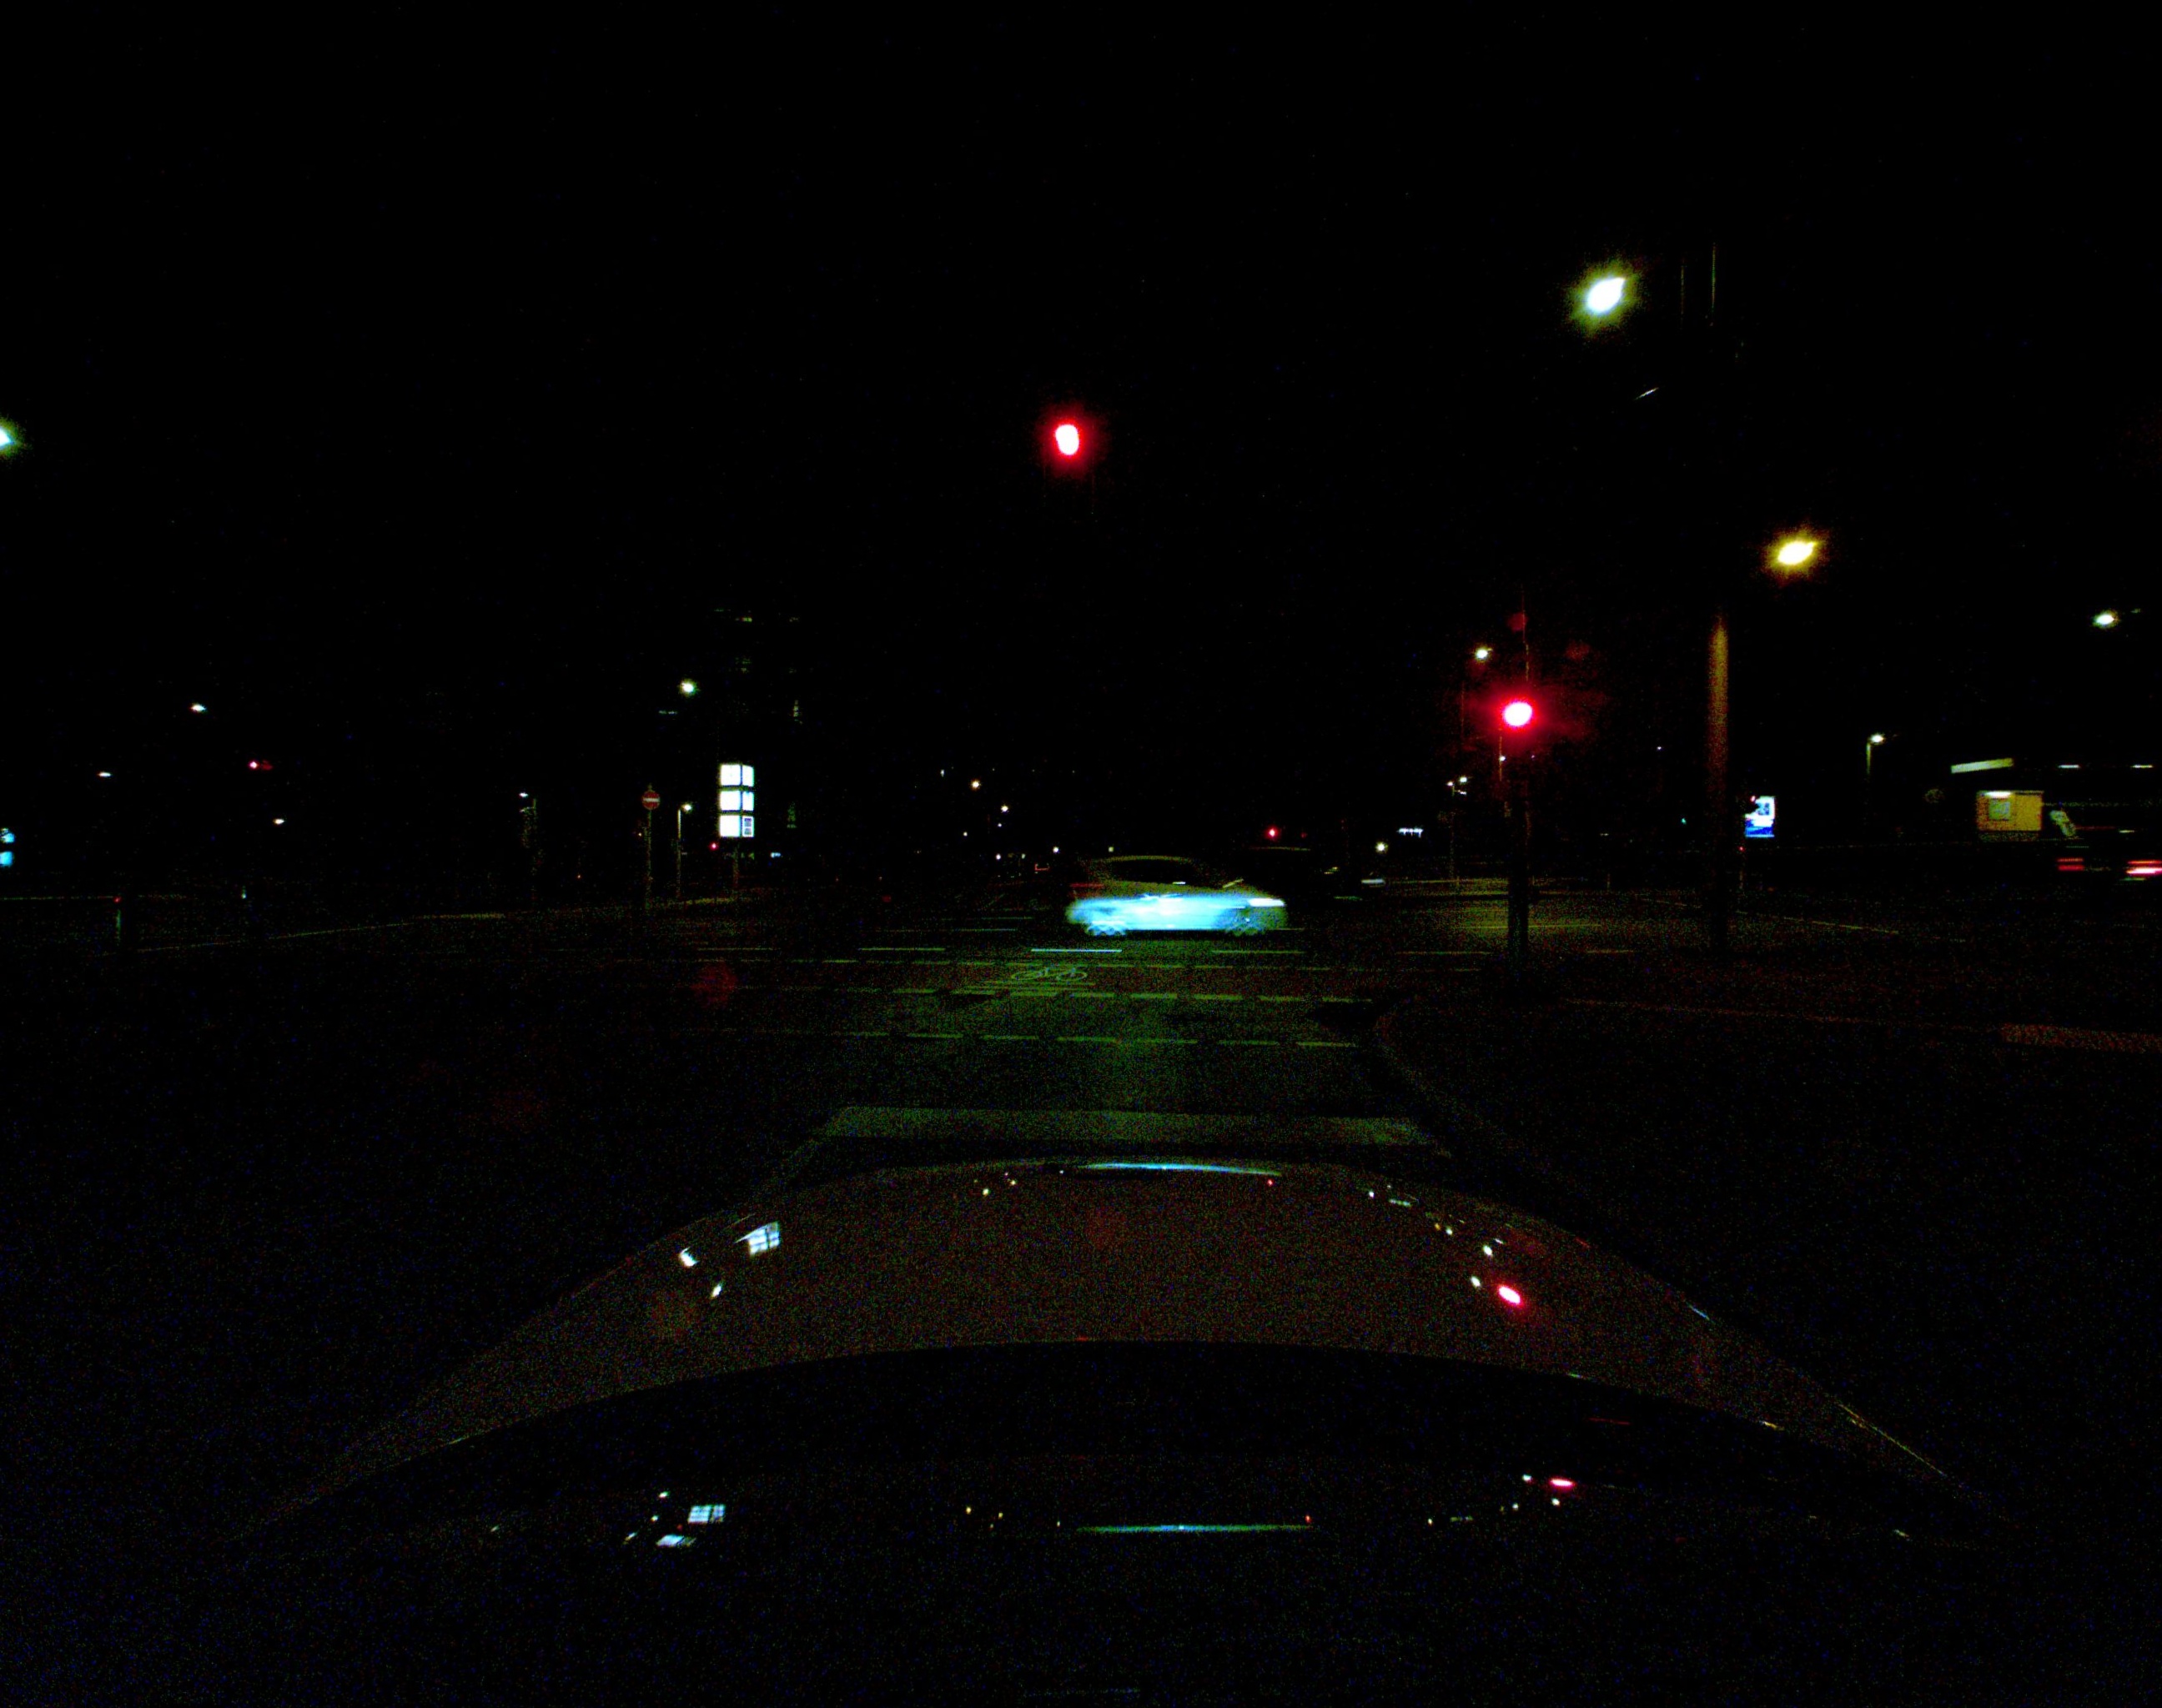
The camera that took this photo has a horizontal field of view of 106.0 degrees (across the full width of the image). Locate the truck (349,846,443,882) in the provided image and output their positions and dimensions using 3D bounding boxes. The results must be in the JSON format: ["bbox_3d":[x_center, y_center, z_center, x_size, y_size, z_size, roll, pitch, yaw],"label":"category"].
[{"bbox_3d":[-59.892,0.875,71.300,5.873,3.088,2.915,0,-1,3],"label":"truck"}]

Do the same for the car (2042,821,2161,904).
[{"bbox_3d":[24.124,0.128,17.622,4.323,1.651,1.813,-1,2,4],"label":"car"}]

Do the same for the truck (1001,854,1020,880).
[{"bbox_3d":[-10.384,1.958,119.811,2.580,3.707,5.723,0,-1,-7],"label":"truck"}]

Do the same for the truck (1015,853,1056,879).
[{"bbox_3d":[-8.565,2.224,151.645,4.835,4.547,12.591,0,-1,-17],"label":"truck"}]

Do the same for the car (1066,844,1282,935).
[{"bbox_3d":[1.797,0.662,16.048,3.968,1.662,1.813,0,0,5],"label":"car"}]

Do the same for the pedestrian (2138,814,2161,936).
[{"bbox_3d":[15.879,0.280,11.465,0.752,1.745,0.834,-3,-2,1],"label":"pedestrian"}]

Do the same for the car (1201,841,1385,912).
[{"bbox_3d":[5.482,0.560,21.523,4.425,1.659,1.867,-2,1,4],"label":"car"}]

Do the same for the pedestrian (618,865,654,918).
[{"bbox_3d":[-13.969,1.161,25.573,0.667,1.634,0.862,0,-1,-3],"label":"pedestrian"}]

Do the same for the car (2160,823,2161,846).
[{"bbox_3d":[48.988,-0.485,34.315,3.966,2.014,2.003,-4,-1,6],"label":"car"}]
